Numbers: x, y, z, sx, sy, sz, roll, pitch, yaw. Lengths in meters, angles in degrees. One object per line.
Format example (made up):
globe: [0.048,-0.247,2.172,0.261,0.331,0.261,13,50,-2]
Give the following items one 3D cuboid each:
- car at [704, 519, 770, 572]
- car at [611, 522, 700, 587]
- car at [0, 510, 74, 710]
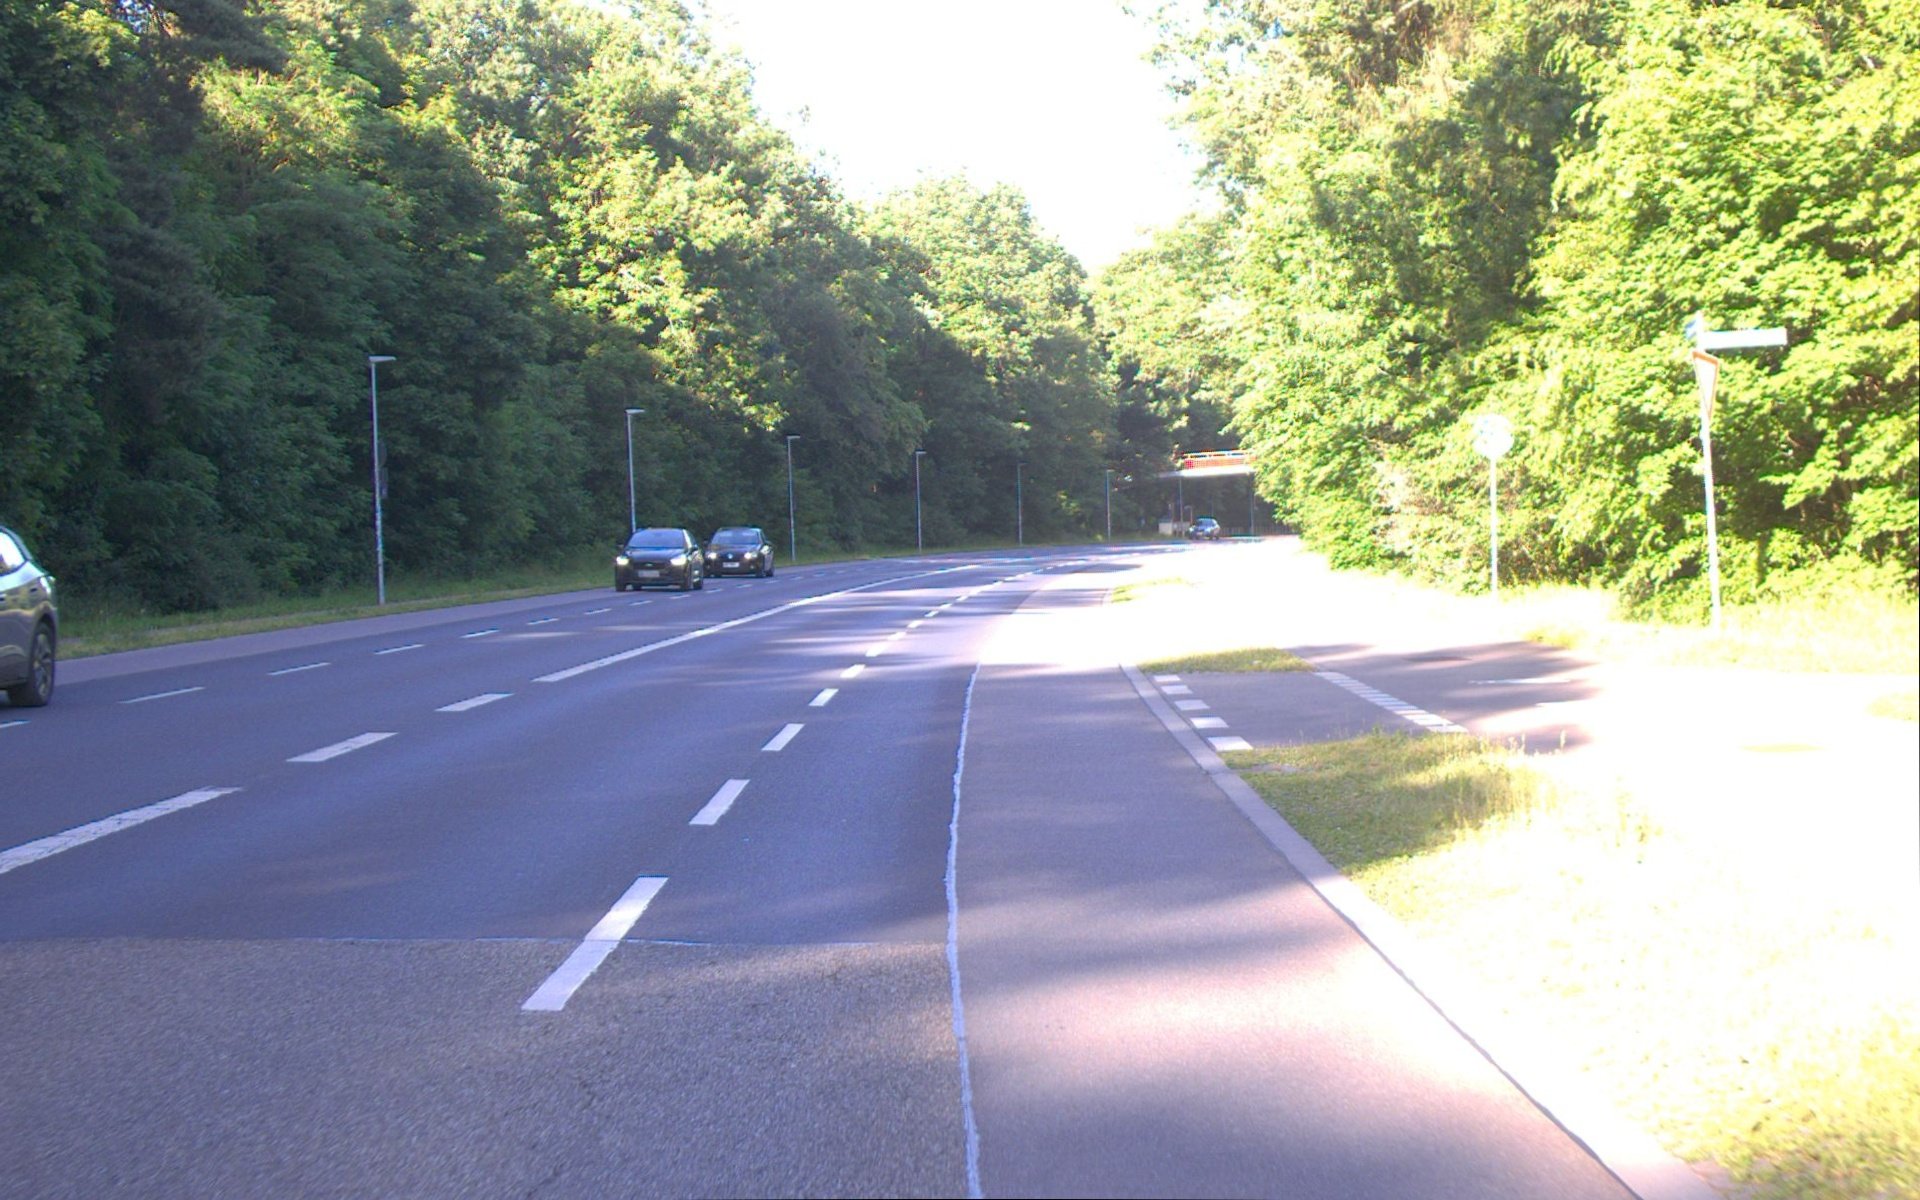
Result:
car: [-6.386,-1.581,98.799,1.657,1.475,4.173,0,2,-1]
car: [-7.107,-1.080,80.557,1.738,1.452,3.999,1,1,-1]
car: [-8.676,0.062,27.807,1.896,1.605,4.450,1,1,-1]
